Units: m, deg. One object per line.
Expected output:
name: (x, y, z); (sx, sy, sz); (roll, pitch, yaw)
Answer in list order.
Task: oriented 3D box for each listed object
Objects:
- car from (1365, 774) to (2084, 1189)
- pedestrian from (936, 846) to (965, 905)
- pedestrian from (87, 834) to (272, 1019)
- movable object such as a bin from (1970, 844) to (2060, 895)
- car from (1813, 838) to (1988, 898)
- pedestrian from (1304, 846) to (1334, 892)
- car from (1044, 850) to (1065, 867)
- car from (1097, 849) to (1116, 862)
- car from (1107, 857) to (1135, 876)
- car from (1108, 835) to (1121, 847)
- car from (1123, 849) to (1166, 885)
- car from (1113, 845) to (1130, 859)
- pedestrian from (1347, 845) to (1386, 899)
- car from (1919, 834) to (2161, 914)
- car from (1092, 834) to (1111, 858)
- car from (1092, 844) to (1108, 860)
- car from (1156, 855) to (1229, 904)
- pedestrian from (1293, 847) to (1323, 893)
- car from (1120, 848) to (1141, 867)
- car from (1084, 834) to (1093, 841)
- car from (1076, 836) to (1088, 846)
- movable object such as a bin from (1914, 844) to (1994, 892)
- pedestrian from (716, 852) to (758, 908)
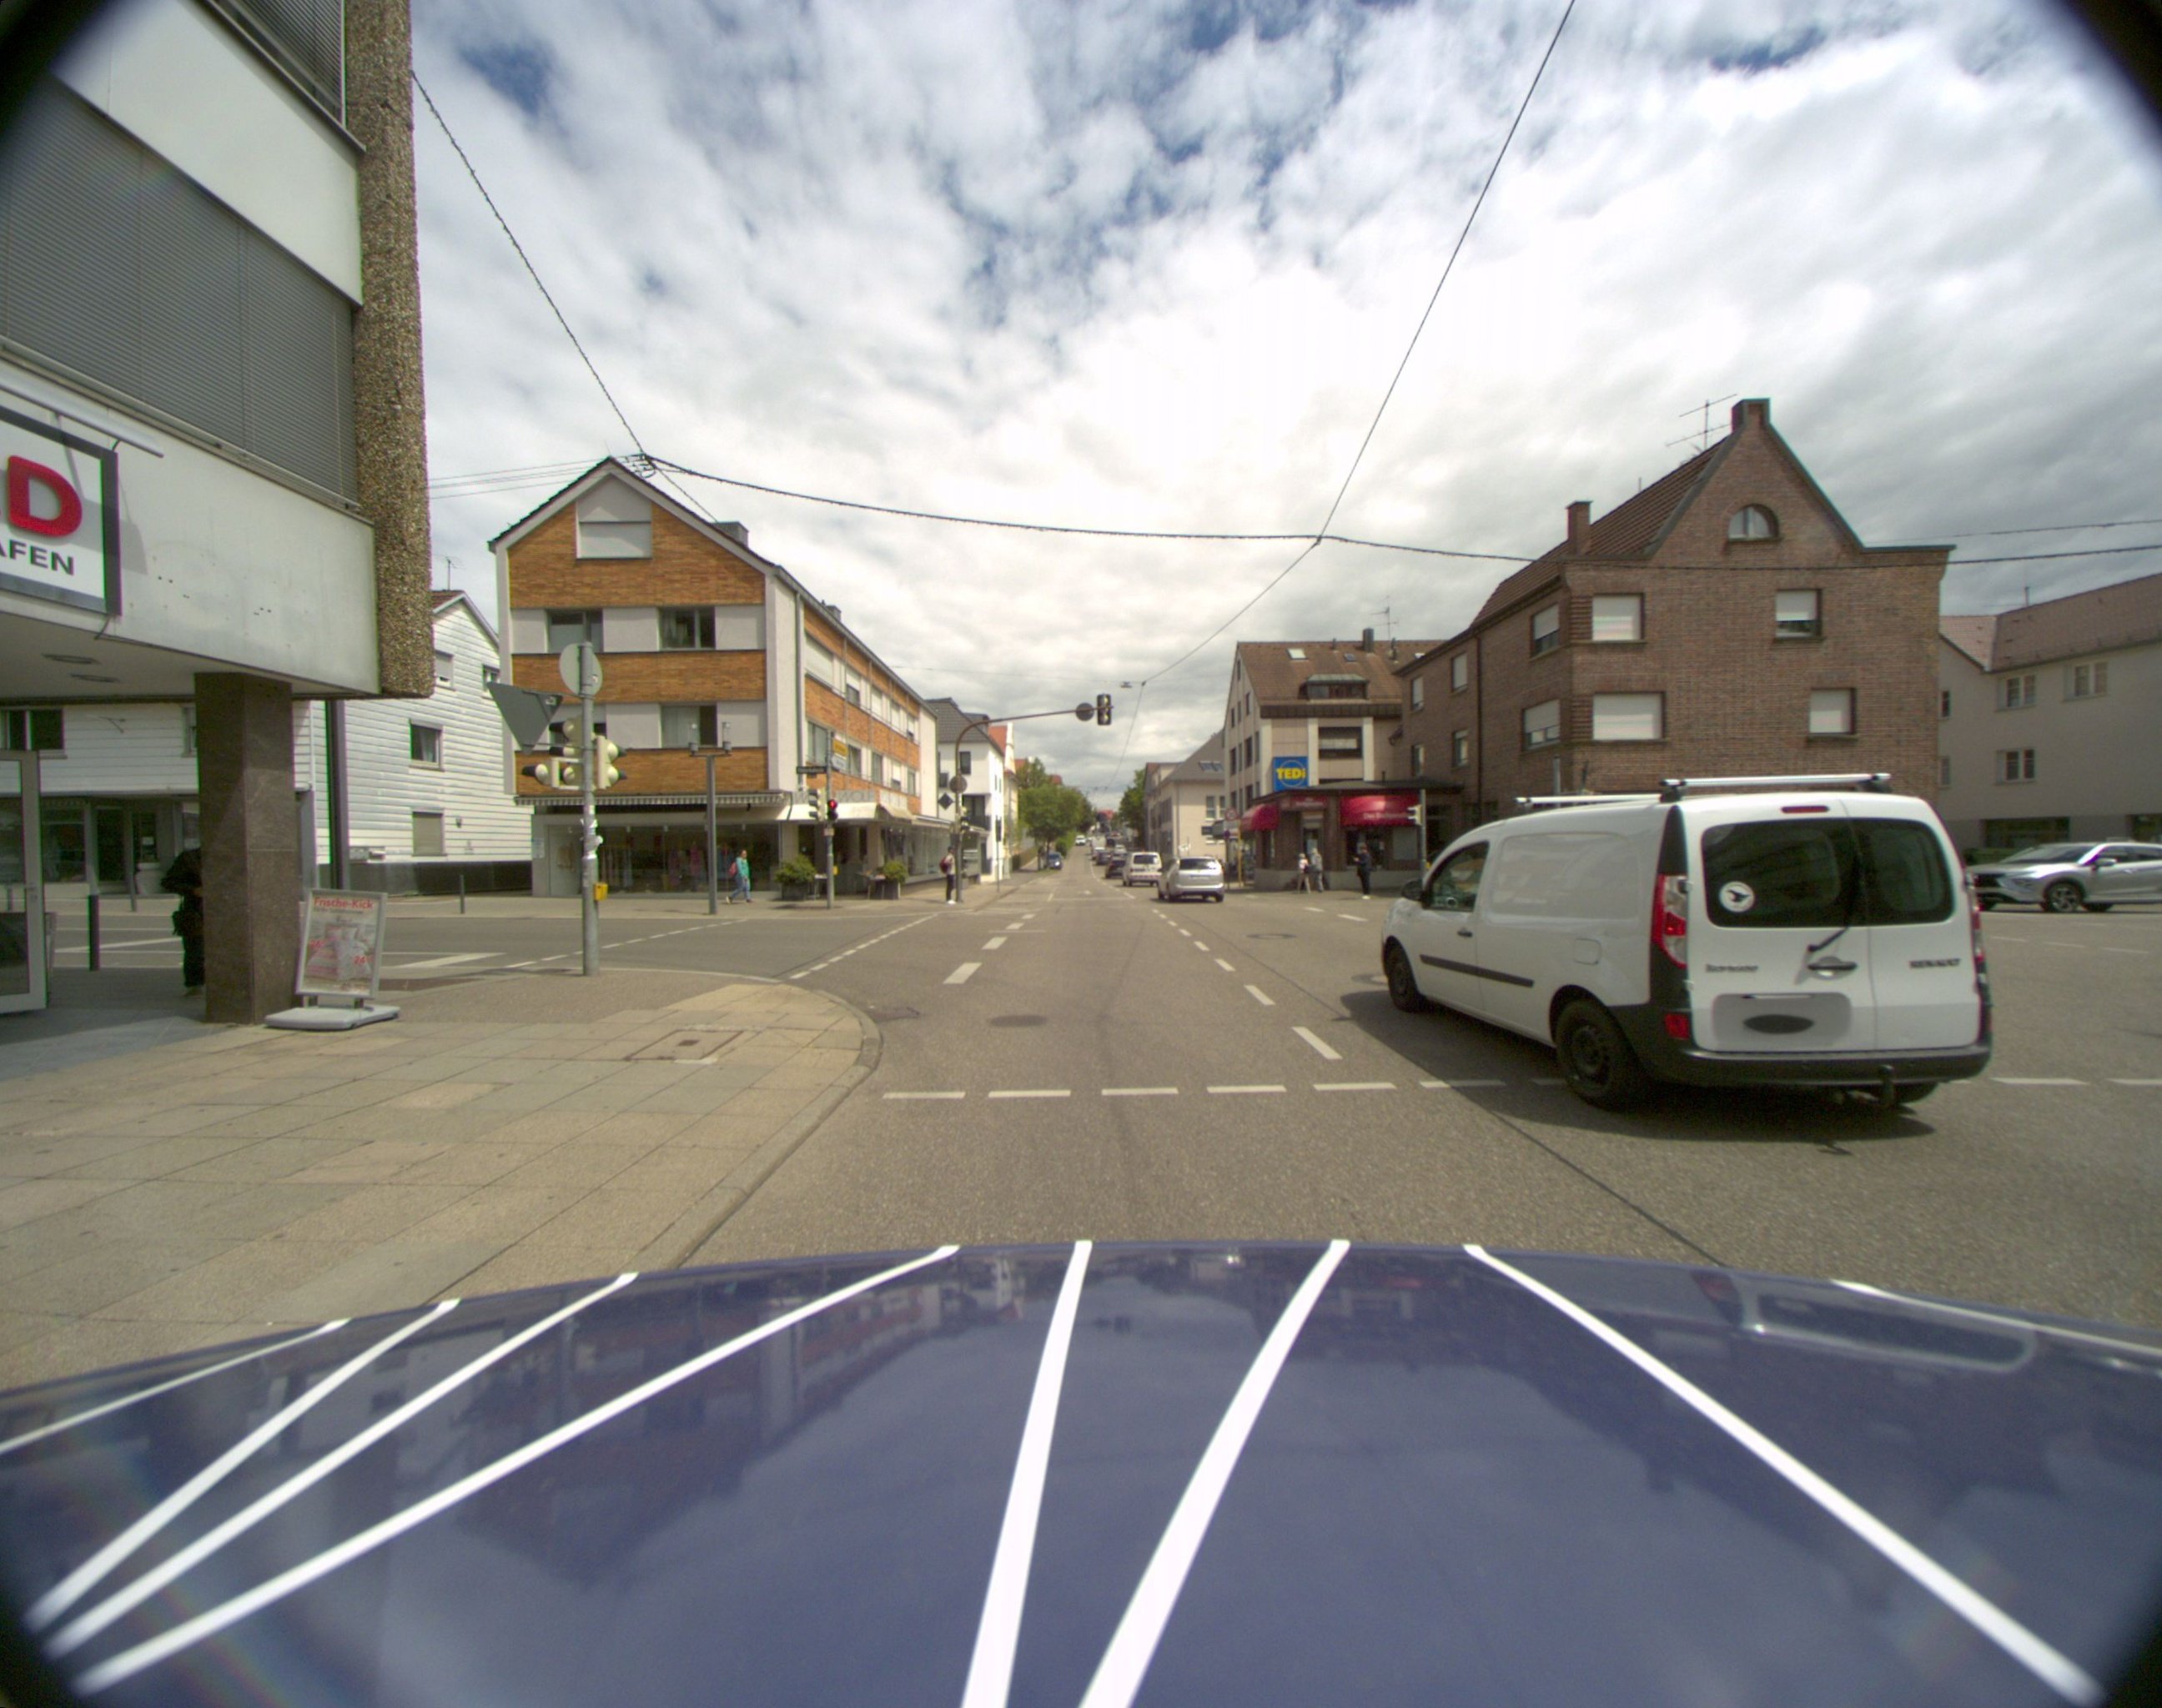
car: (3.735, 0.591, 5.568); (1.819, 1.919, 4.112); (0, 0, 1)
pedestrian: (-4.094, 0.650, 23.865); (0.581, 1.820, 0.882); (1, 1, 17)
pedestrian: (-8.558, 0.651, 7.252); (0.806, 1.661, 0.797); (0, 1, 3)
movable object such as a bin: (31.157, 0.504, 25.375); (1.519, 1.615, 1.145); (-2, 1, 4)
car: (27.084, 0.423, 25.320); (1.869, 1.852, 3.702); (0, 0, 1)
pedestrian: (8.946, 0.567, 28.573); (0.684, 1.706, 0.876); (0, 1, -17)
car: (-2.662, 0.407, 76.996); (1.998, 1.654, 4.000); (0, 0, 0)
car: (2.853, 0.123, 85.375); (1.858, 1.414, 4.192); (0, 0, -1)
car: (3.025, 0.962, 58.408); (1.858, 1.371, 4.271); (0, 0, -1)
car: (6.122, -2.453, 139.606); (2.111, 2.109, 4.764); (0, 1, 0)
car: (3.619, 0.698, 44.024); (1.982, 1.985, 5.027); (0, 0, -1)
car: (5.603, -0.277, 106.259); (2.111, 1.778, 4.529); (-1, 0, 0)
pedestrian: (9.225, 0.564, 24.522); (0.908, 1.713, 0.849); (-1, 1, -41)
car: (23.511, 0.457, 17.830); (5.255, 1.758, 2.001); (0, 0, 3)
car: (2.909, -1.092, 111.066); (2.428, 3.409, 7.636); (0, 0, -1)
car: (2.412, -0.215, 97.065); (1.858, 1.957, 4.192); (0, 0, -1)
car: (3.581, 0.788, 25.101); (1.757, 1.478, 3.970); (0, 0, -1)
pedestrian: (8.444, 0.589, 28.300); (0.780, 1.685, 0.794); (0, 1, -17)
car: (5.764, 0.387, 88.643); (2.111, 2.109, 4.765); (-1, 0, 0)
car: (1.815, -3.851, 179.988); (1.998, 1.654, 4.000); (0, 0, 0)
car: (0.227, -2.521, 145.414); (2.000, 1.797, 4.764); (4, 0, -1)
movable object such as a bin: (31.053, 0.489, 27.053); (1.519, 1.615, 1.145); (-2, 1, 4)
pedestrian: (-9.585, 0.707, 21.201); (0.818, 1.517, 0.779); (0, 1, -1)
